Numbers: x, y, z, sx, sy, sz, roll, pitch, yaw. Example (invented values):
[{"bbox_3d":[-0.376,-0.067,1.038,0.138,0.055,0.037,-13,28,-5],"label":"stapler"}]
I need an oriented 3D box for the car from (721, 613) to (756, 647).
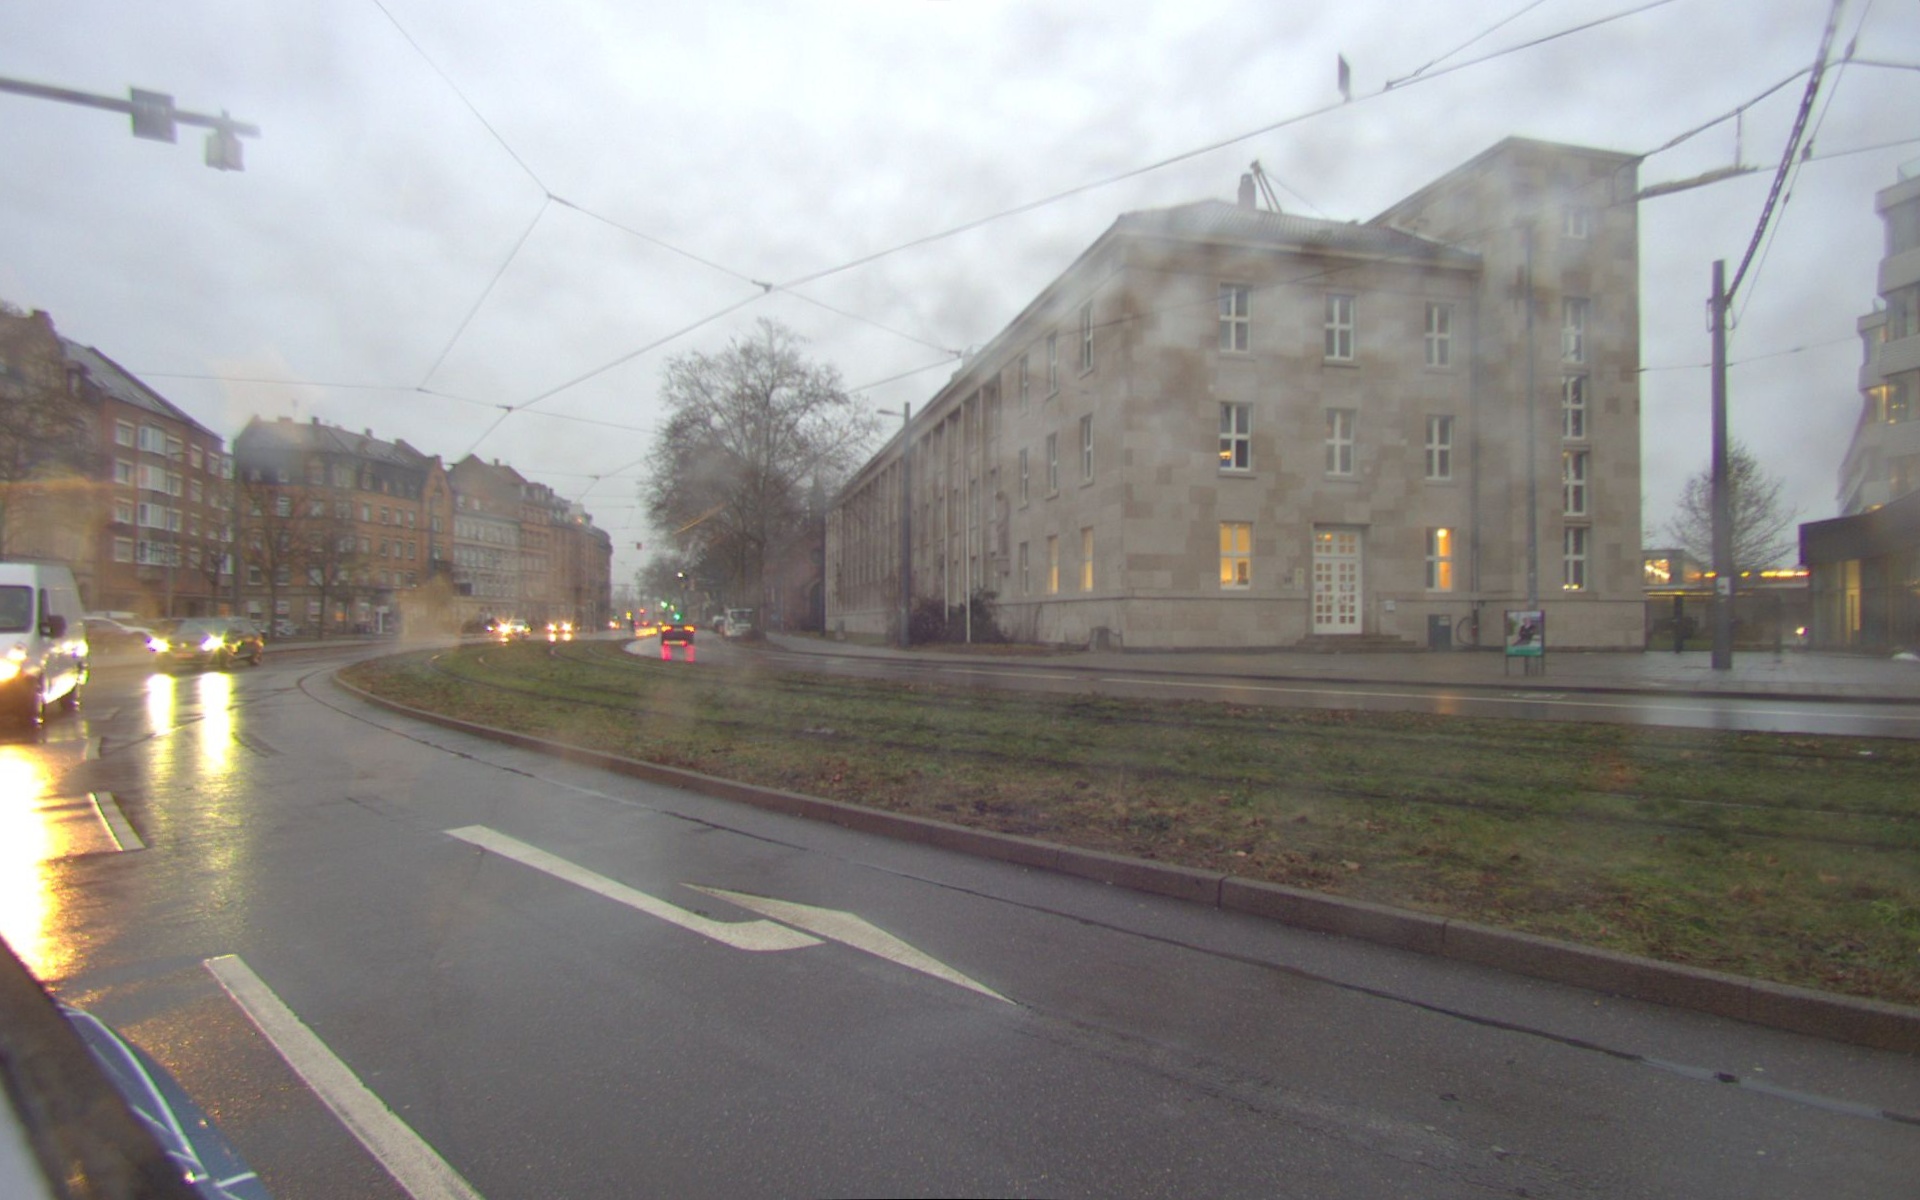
[{"bbox_3d":[-14.547,1.924,66.314,1.966,2.029,4.522,-2,0,-15],"label":"car"}]

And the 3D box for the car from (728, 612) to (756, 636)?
[{"bbox_3d":[-13.345,1.456,61.854,1.535,1.439,2.963,0,0,-14],"label":"car"}]

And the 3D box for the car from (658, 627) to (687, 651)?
[{"bbox_3d":[-20.477,2.741,72.252,1.796,1.446,4.668,-2,0,-14],"label":"car"}]

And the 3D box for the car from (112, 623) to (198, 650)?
[{"bbox_3d":[-45.157,2.016,56.865,3.706,1.364,1.605,-2,0,-39],"label":"car"}]

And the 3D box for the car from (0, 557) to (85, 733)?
[{"bbox_3d":[-15.353,0.673,15.692,2.095,2.398,5.652,0,-1,-35],"label":"car"}]

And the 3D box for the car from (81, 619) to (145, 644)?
[{"bbox_3d":[-53.341,1.990,63.797,1.449,1.555,3.881,0,-2,-12],"label":"car"}]

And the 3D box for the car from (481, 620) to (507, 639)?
[{"bbox_3d":[-42.120,2.684,91.533,1.694,1.630,3.950,0,-2,-17],"label":"car"}]

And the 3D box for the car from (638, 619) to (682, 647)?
[{"bbox_3d":[-16.553,1.792,55.746,1.633,1.411,4.538,-2,0,-25],"label":"car"}]

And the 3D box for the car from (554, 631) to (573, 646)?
[{"bbox_3d":[-41.363,3.955,105.449,1.809,1.497,3.533,0,-2,-22],"label":"car"}]

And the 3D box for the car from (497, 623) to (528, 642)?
[{"bbox_3d":[-34.788,2.523,78.766,1.865,1.424,3.959,0,-2,-19],"label":"car"}]
